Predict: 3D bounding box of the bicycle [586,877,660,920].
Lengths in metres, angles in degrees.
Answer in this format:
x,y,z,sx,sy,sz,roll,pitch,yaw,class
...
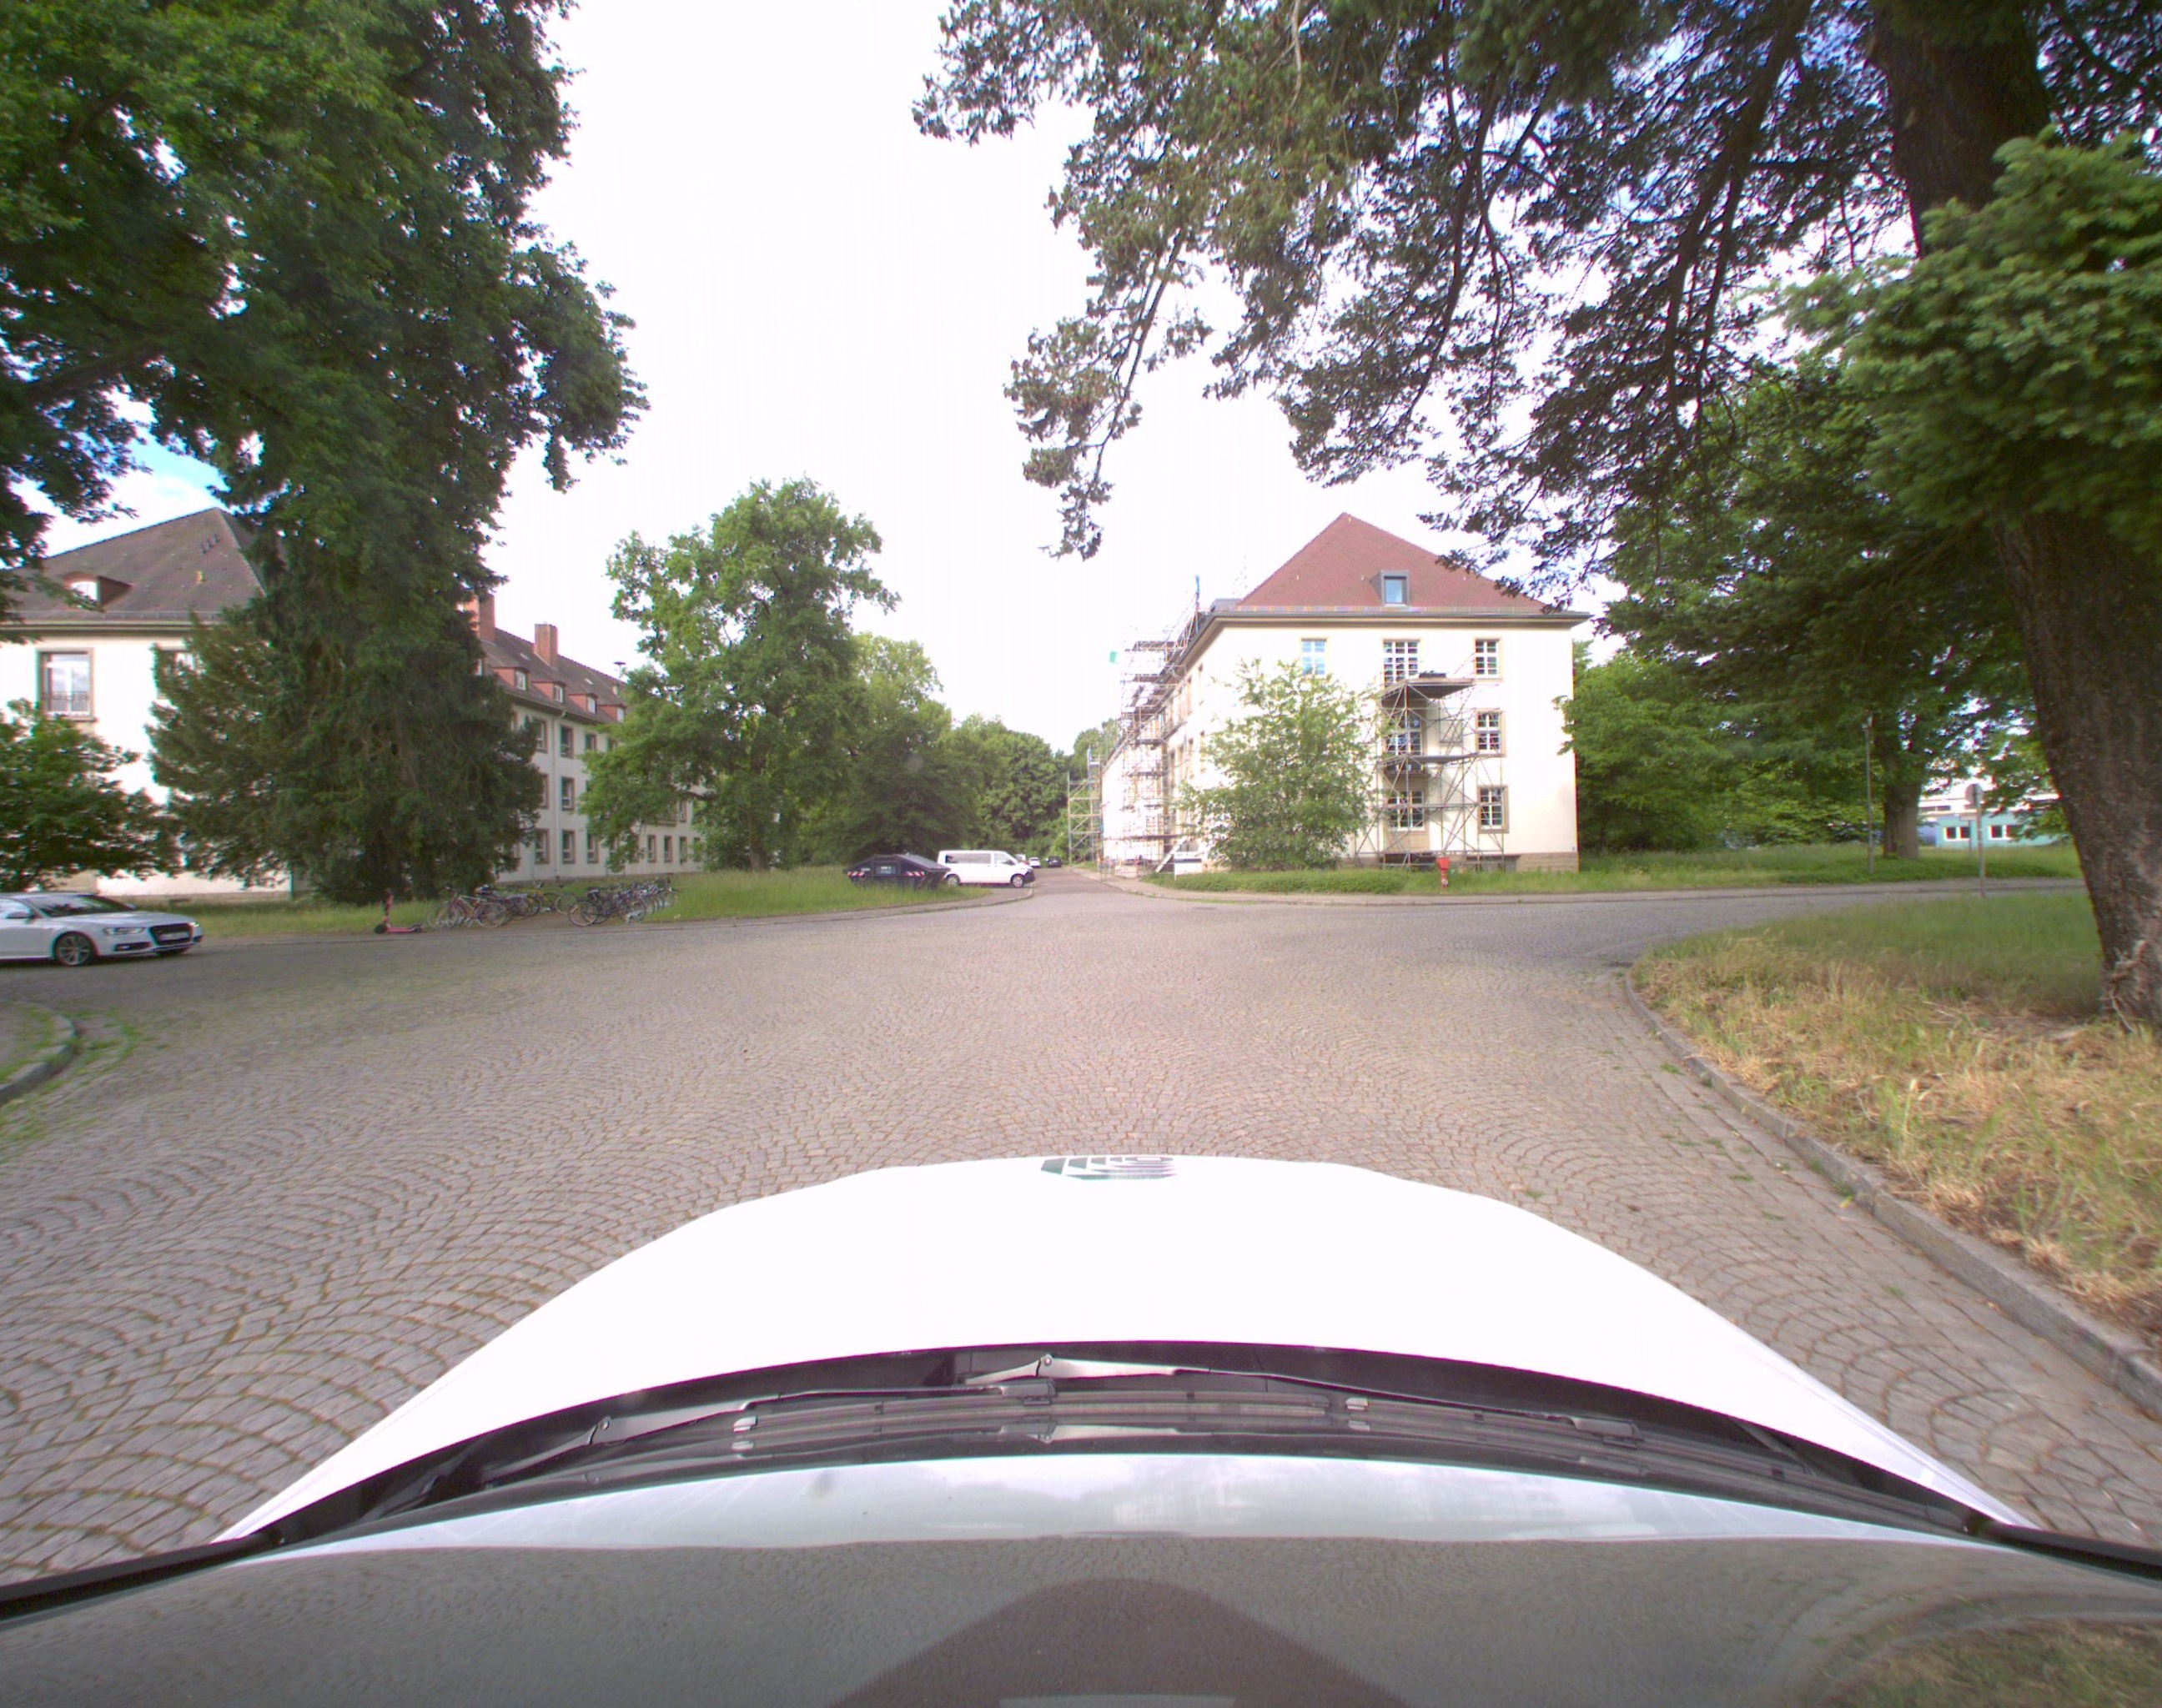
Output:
x,y,z,sx,sy,sz,roll,pitch,yaw,class
-13.700,1.311,24.402,1.801,1.103,0.697,-3,2,-23,bicycle

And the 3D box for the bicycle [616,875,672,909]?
x,y,z,sx,sy,sz,roll,pitch,yaw,class
-15.383,1.320,28.704,1.623,1.058,0.523,-3,2,-23,bicycle

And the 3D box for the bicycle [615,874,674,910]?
x,y,z,sx,sy,sz,roll,pitch,yaw,class
-15.104,1.300,28.204,1.704,1.116,0.537,-3,2,-23,bicycle

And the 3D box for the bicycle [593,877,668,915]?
x,y,z,sx,sy,sz,roll,pitch,yaw,class
-14.263,1.319,25.837,1.962,1.004,0.681,-3,2,-23,bicycle

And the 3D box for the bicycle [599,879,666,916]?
x,y,z,sx,sy,sz,roll,pitch,yaw,class
-13.814,1.334,25.140,1.698,1.001,0.627,-3,2,-23,bicycle

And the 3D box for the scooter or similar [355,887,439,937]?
x,y,z,sx,sy,sz,roll,pitch,yaw,class
-17.872,1.503,21.291,1.543,1.195,0.682,-2,1,0,scooter or similar

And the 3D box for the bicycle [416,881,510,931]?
x,y,z,sx,sy,sz,roll,pitch,yaw,class
-16.728,1.392,22.085,1.903,1.222,0.639,-1,2,-23,bicycle

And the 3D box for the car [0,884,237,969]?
x,y,z,sx,sy,sz,roll,pitch,yaw,class
-20.131,1.422,16.095,4.682,1.437,1.852,-2,0,-5,car

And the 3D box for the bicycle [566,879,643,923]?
x,y,z,sx,sy,sz,roll,pitch,yaw,class
-13.770,1.352,23.583,1.775,1.103,0.697,-3,2,-23,bicycle

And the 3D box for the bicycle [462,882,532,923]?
x,y,z,sx,sy,sz,roll,pitch,yaw,class
-17.405,1.426,24.310,1.636,1.073,0.534,-2,2,-33,bicycle

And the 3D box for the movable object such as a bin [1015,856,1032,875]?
x,y,z,sx,sy,sz,roll,pitch,yaw,class
-4.429,0.877,62.806,1.181,1.407,0.974,1,-1,-3,movable object such as a bin

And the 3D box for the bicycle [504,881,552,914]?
x,y,z,sx,sy,sz,roll,pitch,yaw,class
-18.962,1.482,27.949,1.264,1.029,0.430,-3,-2,-23,bicycle

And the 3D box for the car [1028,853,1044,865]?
x,y,z,sx,sy,sz,roll,pitch,yaw,class
-6.033,0.648,109.245,1.999,1.548,3.949,1,-1,-6,car

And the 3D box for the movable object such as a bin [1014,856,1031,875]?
x,y,z,sx,sy,sz,roll,pitch,yaw,class
-4.440,0.889,61.768,1.181,1.407,0.974,1,-1,-3,movable object such as a bin

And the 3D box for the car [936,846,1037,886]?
x,y,z,sx,sy,sz,roll,pitch,yaw,class
-4.970,0.624,43.258,5.191,2.060,2.184,0,-1,-5,car

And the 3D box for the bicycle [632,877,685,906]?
x,y,z,sx,sy,sz,roll,pitch,yaw,class
-15.209,1.355,29.339,1.623,0.910,0.523,-3,2,-23,bicycle

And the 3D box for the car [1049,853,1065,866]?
x,y,z,sx,sy,sz,roll,pitch,yaw,class
-3.226,0.747,109.718,2.057,1.593,3.998,1,-1,-1,car

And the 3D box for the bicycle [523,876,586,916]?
x,y,z,sx,sy,sz,roll,pitch,yaw,class
-17.248,1.375,26.715,1.649,1.185,0.569,-2,2,-29,bicycle

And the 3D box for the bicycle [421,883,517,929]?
x,y,z,sx,sy,sz,roll,pitch,yaw,class
-17.003,1.426,22.681,1.993,1.114,0.639,-1,2,-23,bicycle

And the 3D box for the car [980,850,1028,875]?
x,y,z,sx,sy,sz,roll,pitch,yaw,class
-6.692,0.755,70.508,3.984,2.014,1.916,1,-1,-8,car

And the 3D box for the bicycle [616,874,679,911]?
x,y,z,sx,sy,sz,roll,pitch,yaw,class
-14.754,1.311,27.752,1.778,1.105,0.537,-3,2,-23,bicycle

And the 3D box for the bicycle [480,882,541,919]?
x,y,z,sx,sy,sz,roll,pitch,yaw,class
-17.926,1.447,25.638,1.522,1.035,0.539,-2,2,-33,bicycle
